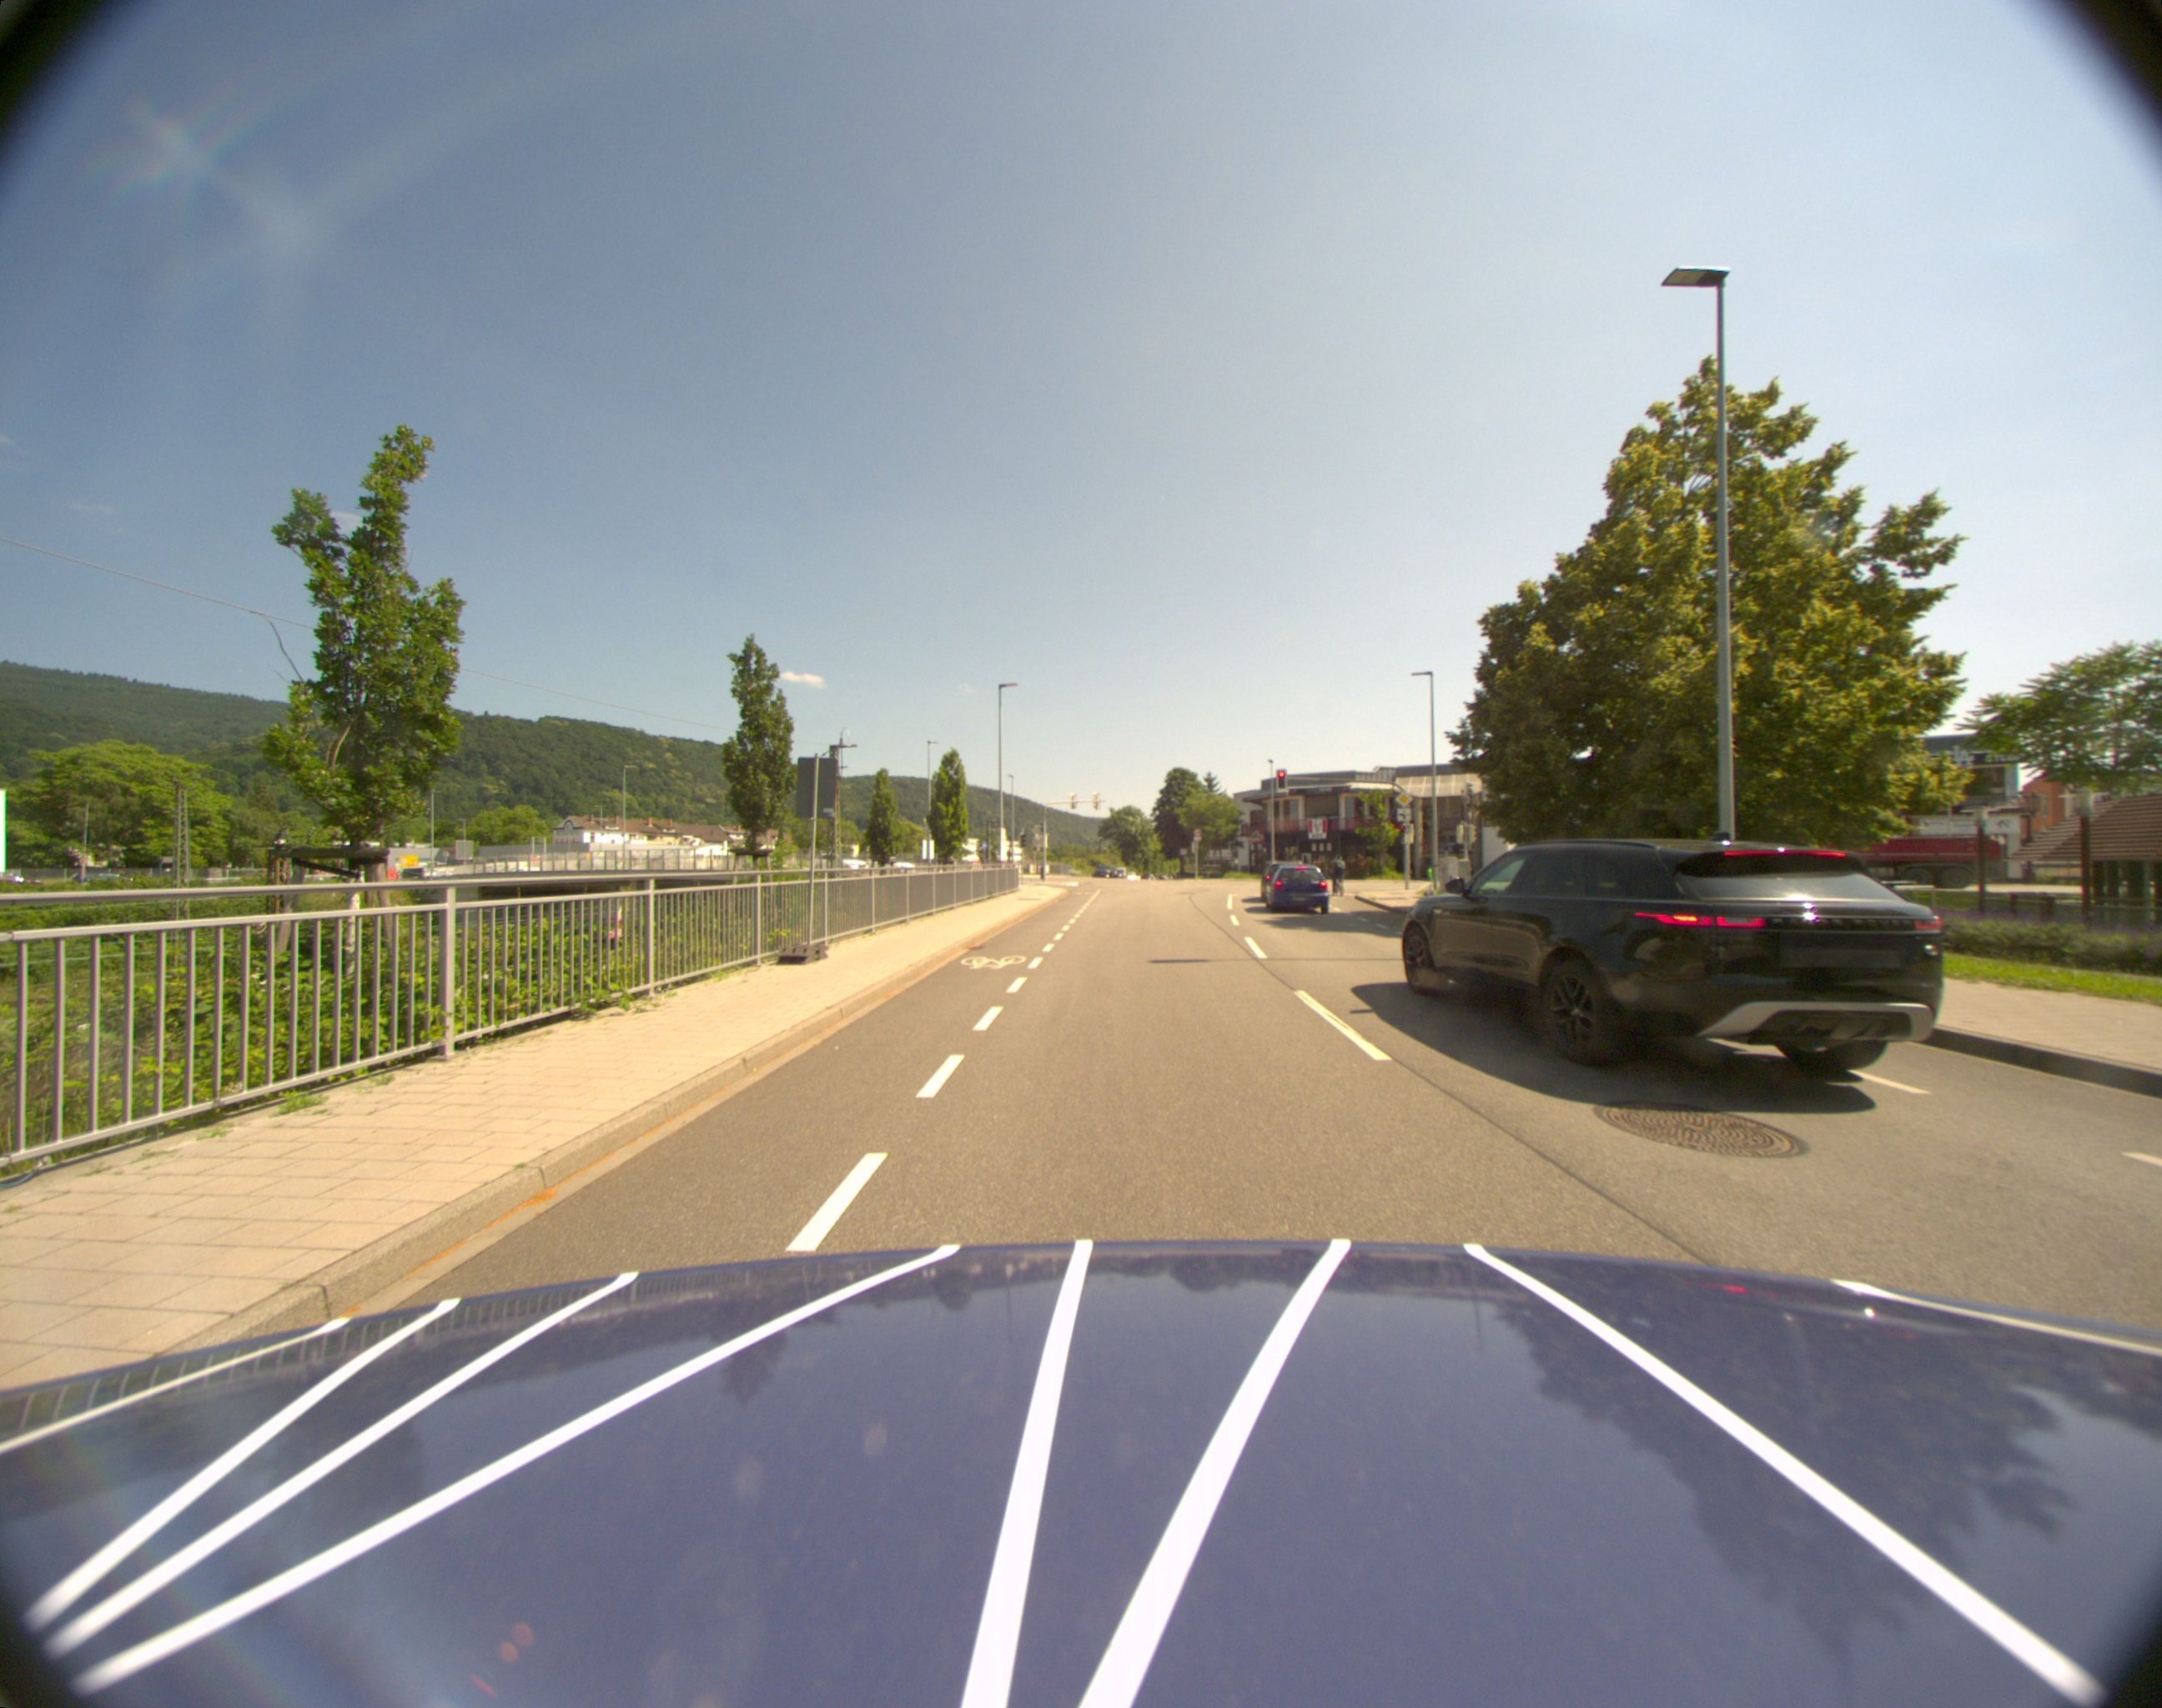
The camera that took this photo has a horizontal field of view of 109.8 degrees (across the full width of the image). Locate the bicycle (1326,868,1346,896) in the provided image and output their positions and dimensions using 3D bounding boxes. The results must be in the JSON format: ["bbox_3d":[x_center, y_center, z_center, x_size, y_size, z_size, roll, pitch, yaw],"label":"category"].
[{"bbox_3d":[10.751,1.179,32.072,0.698,1.098,1.757,2,0,16],"label":"bicycle"}]

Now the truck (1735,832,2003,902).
[{"bbox_3d":[40.722,0.686,39.864,9.144,3.366,3.321,-1,-1,27],"label":"truck"}]

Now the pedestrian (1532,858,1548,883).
[{"bbox_3d":[30.081,1.082,49.792,0.844,1.636,0.732,0,0,-43],"label":"pedestrian"}]

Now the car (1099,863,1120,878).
[{"bbox_3d":[3.153,1.843,84.000,1.828,1.617,4.240,0,0,8],"label":"car"}]

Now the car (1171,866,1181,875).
[{"bbox_3d":[20.262,3.581,161.718,1.671,1.718,4.003,-4,-1,10],"label":"car"}]

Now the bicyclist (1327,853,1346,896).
[{"bbox_3d":[10.779,0.857,32.065,0.711,1.778,0.810,0,0,16],"label":"bicyclist"}]

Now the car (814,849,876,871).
[{"bbox_3d":[-19.439,0.502,62.575,4.622,1.709,2.003,0,0,22],"label":"car"}]

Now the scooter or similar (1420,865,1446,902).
[{"bbox_3d":[11.346,0.931,24.515,0.472,1.177,1.367,0,0,13],"label":"scooter or similar"}]

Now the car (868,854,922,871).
[{"bbox_3d":[-15.782,0.722,64.432,4.399,1.461,1.740,0,0,27],"label":"car"}]

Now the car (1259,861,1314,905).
[{"bbox_3d":[7.600,1.013,28.415,1.782,1.487,4.728,0,-1,13],"label":"car"}]

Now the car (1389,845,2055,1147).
[{"bbox_3d":[4.522,0.817,6.571,1.955,1.685,4.614,0,0,2],"label":"car"}]

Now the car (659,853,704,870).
[{"bbox_3d":[-40.208,0.744,76.467,4.431,1.616,1.740,-1,-1,26],"label":"car"}]

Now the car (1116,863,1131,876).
[{"bbox_3d":[5.610,1.993,99.282,1.671,1.625,4.003,0,0,8],"label":"car"}]

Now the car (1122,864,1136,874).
[{"bbox_3d":[6.604,2.045,104.426,1.671,1.309,4.003,0,-1,8],"label":"car"}]

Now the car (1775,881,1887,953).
[{"bbox_3d":[19.068,1.505,19.477,1.860,1.543,4.197,0,-1,42],"label":"car"}]

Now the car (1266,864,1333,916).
[{"bbox_3d":[6.435,1.001,22.663,1.658,1.372,4.004,0,0,12],"label":"car"}]

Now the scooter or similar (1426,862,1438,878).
[{"bbox_3d":[25.622,1.159,55.435,0.499,1.117,1.507,0,0,36],"label":"scooter or similar"}]

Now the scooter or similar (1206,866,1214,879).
[{"bbox_3d":[11.573,1.677,68.093,0.426,1.117,1.454,0,0,21],"label":"scooter or similar"}]

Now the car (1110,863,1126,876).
[{"bbox_3d":[4.622,1.940,94.043,1.671,1.523,4.003,0,0,8],"label":"car"}]

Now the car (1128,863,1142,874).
[{"bbox_3d":[7.962,2.118,111.716,1.671,1.523,4.003,0,0,8],"label":"car"}]

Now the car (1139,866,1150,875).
[{"bbox_3d":[10.748,2.835,129.014,1.671,1.427,4.003,0,0,8],"label":"car"}]

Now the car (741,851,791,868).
[{"bbox_3d":[-29.524,0.529,71.147,4.431,1.617,1.740,0,0,24],"label":"car"}]

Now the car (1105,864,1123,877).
[{"bbox_3d":[3.901,1.889,88.977,1.671,1.523,4.003,0,0,8],"label":"car"}]

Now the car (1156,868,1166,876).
[{"bbox_3d":[15.308,3.375,145.496,1.671,1.523,4.003,0,0,8],"label":"car"}]
